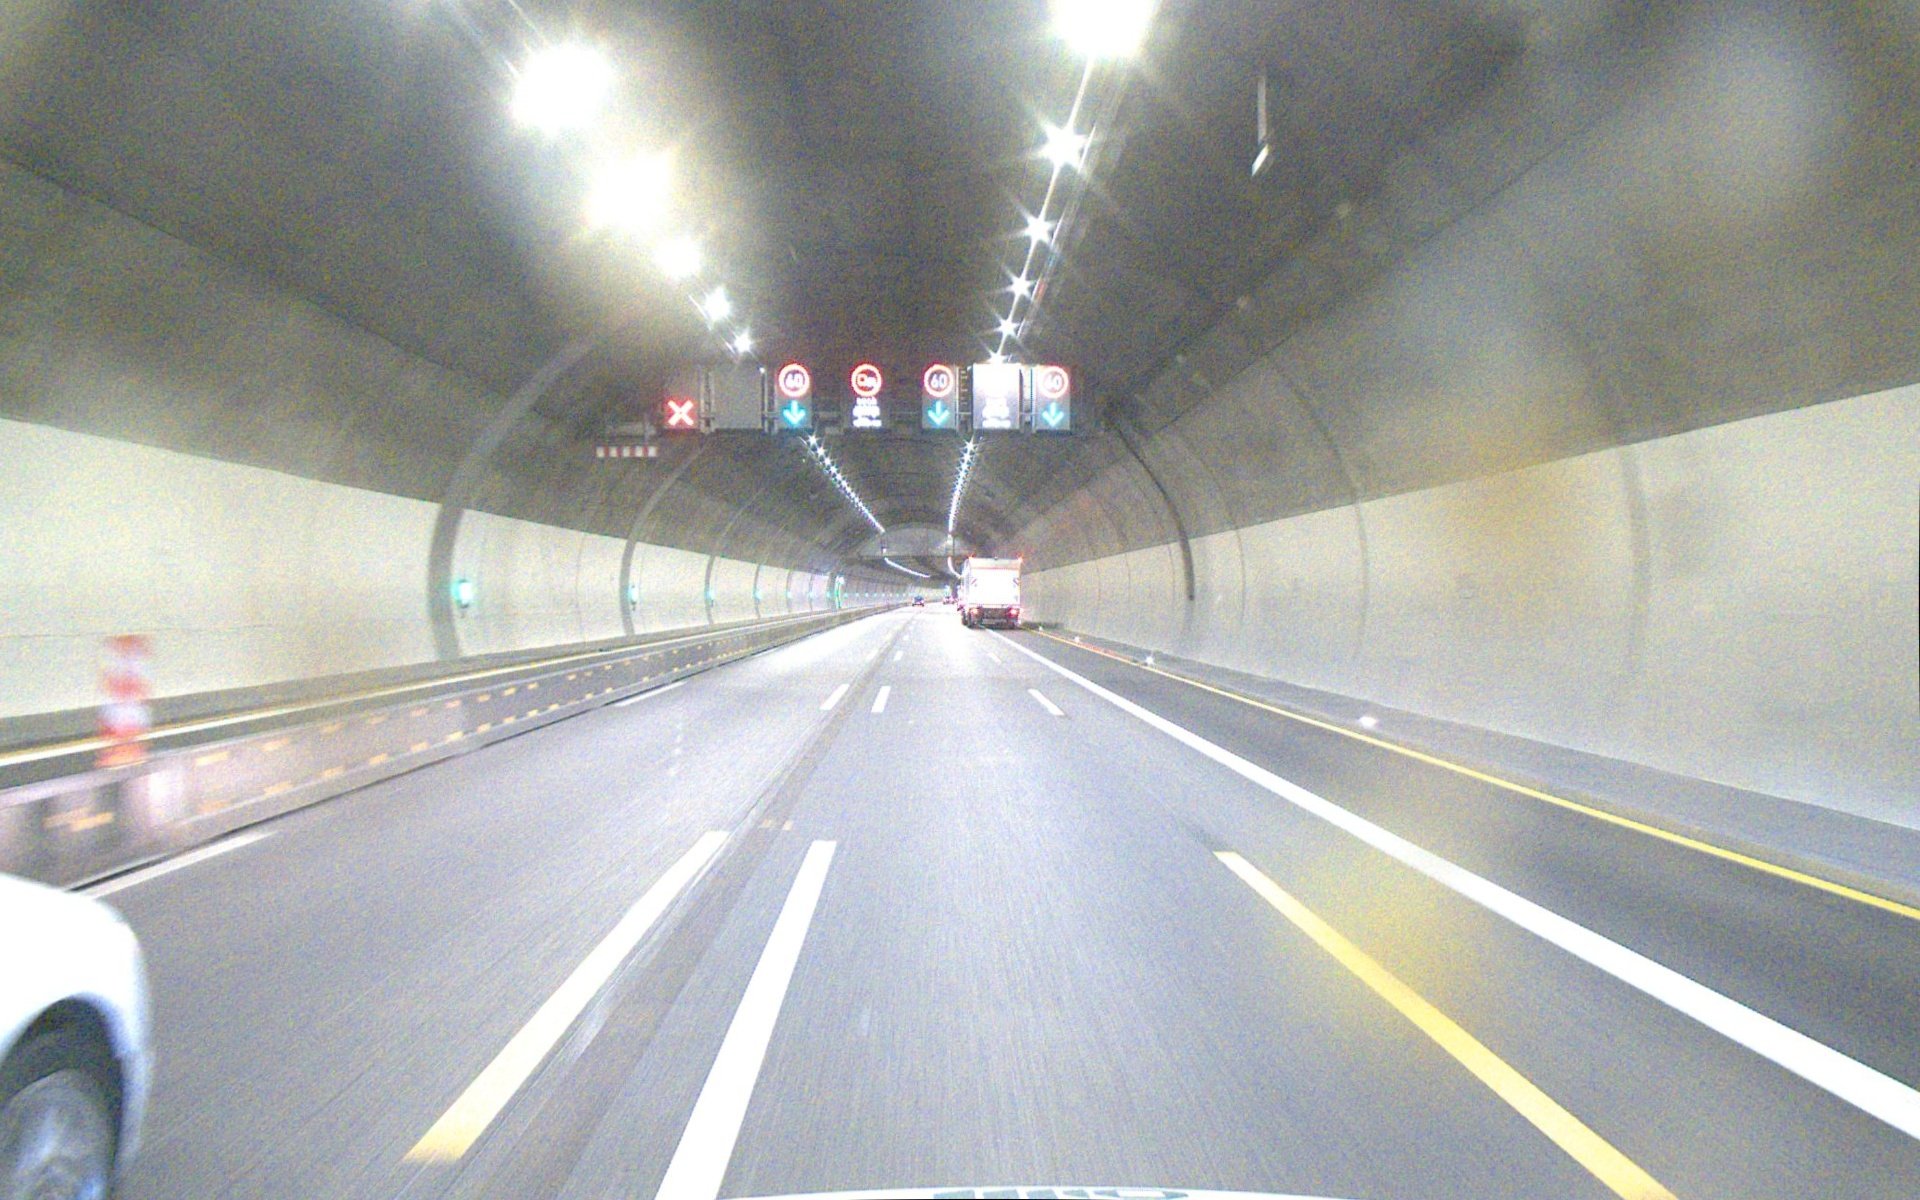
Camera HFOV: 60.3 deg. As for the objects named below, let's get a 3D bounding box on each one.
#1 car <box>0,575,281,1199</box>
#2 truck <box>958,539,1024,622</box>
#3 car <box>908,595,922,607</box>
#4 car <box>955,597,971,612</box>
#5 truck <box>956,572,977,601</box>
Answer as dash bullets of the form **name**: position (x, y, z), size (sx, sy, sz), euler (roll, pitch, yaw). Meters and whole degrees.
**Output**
- **car**: position (-2.539, 0.777, 1.506), size (1.865, 1.510, 4.942), euler (-3, 1, -2)
- **truck**: position (1.491, -0.901, 84.858), size (3.029, 3.986, 10.365), euler (-1, -1, -1)
- **car**: position (-5.967, 0.177, 219.834), size (1.723, 1.486, 4.118), euler (-1, 1, -1)
- **car**: position (0.312, 0.472, 173.946), size (1.704, 1.486, 3.960), euler (-1, 1, 0)
- **truck**: position (0.988, -1.981, 240.287), size (3.003, 3.986, 10.367), euler (-1, -1, 0)
